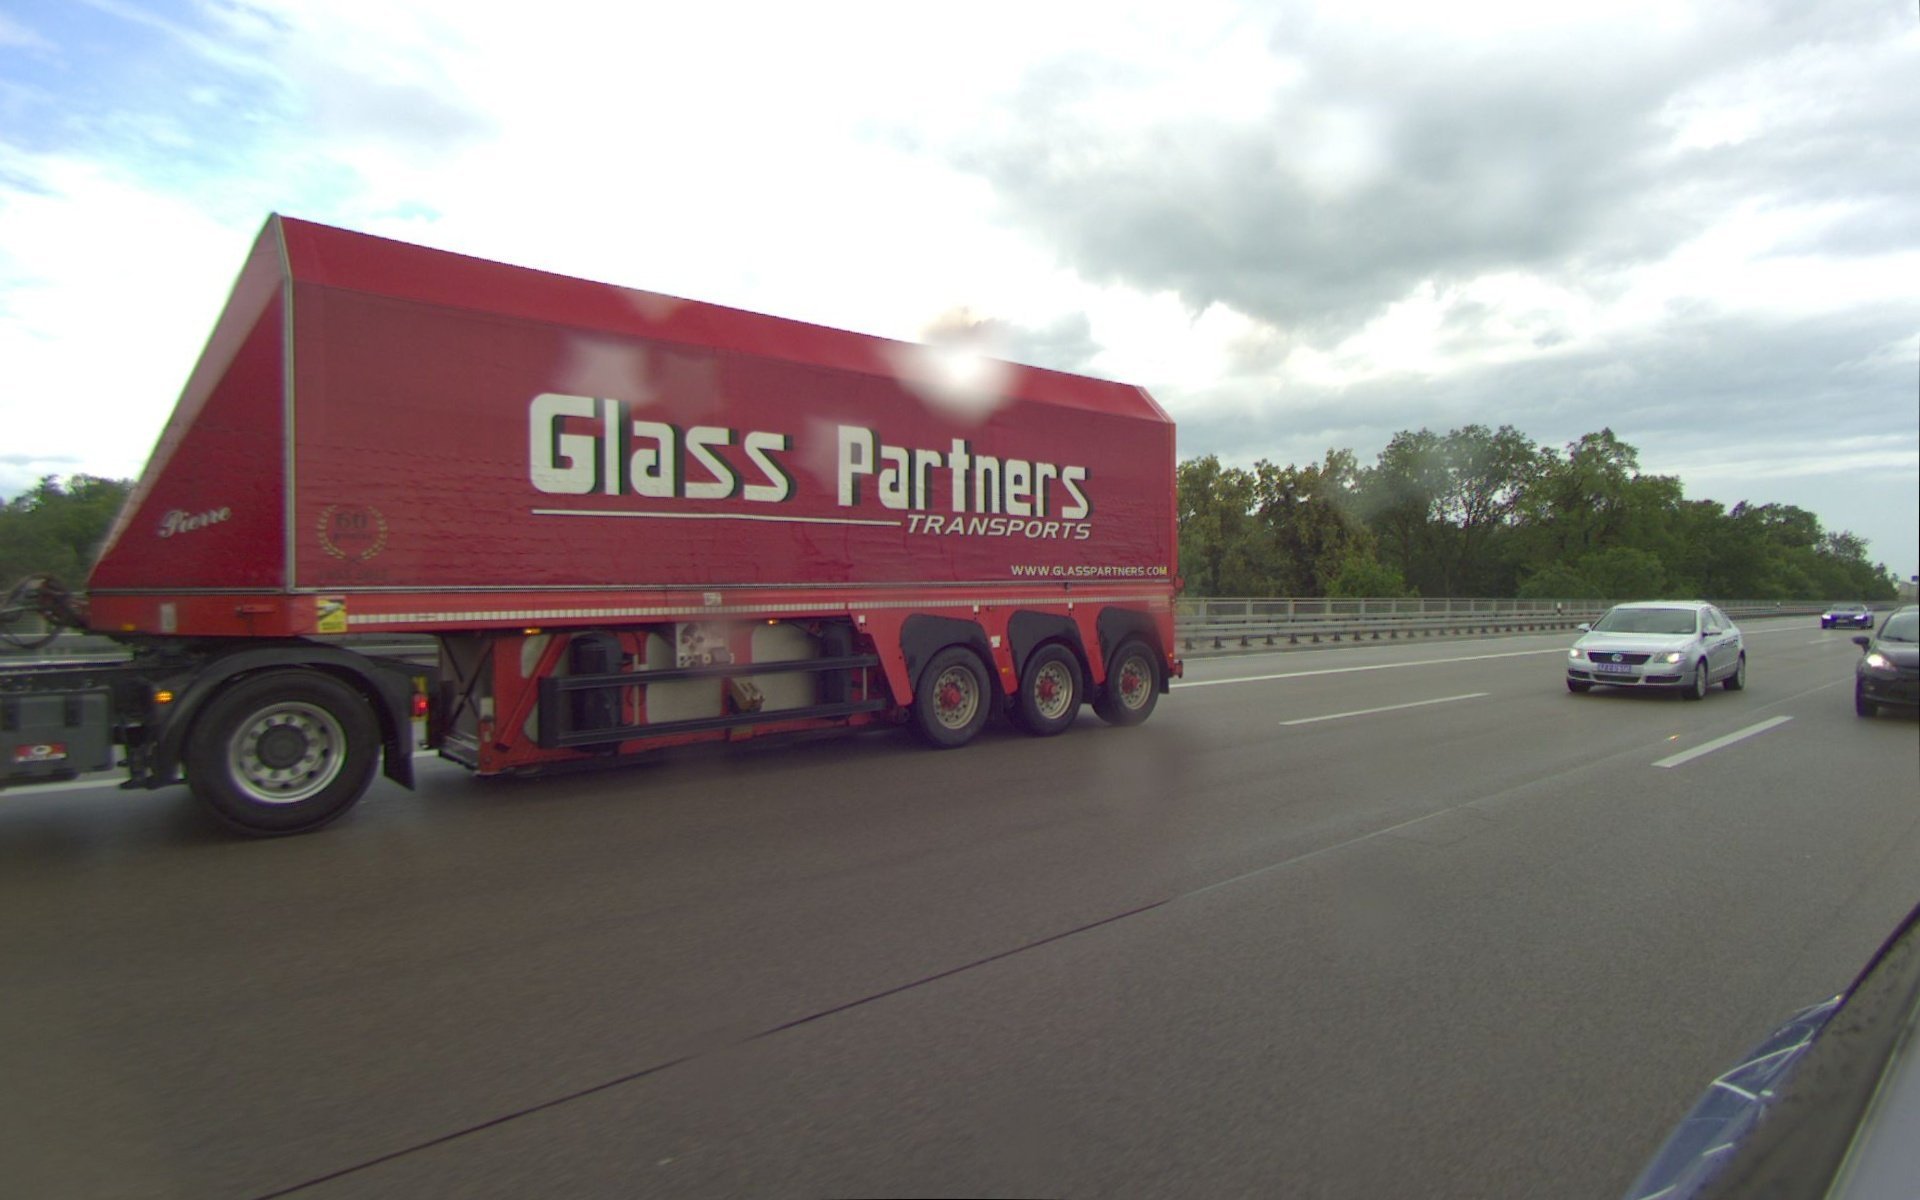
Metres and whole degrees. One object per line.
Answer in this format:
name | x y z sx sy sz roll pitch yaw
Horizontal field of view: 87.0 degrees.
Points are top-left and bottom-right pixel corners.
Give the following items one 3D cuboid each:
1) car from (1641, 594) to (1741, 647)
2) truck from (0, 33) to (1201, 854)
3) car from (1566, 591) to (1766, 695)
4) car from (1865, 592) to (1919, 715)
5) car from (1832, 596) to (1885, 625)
car | 23.020 0.591 31.818 4.285 1.562 1.816 0 0 -44
truck | -3.894 -0.793 7.906 15.369 4.054 3.157 0 0 -42
car | 11.544 0.596 16.444 4.175 1.465 1.895 0 0 -44
car | 13.464 0.643 13.474 4.330 1.458 1.666 -1 1 -42
car | 48.181 0.538 54.231 4.511 1.465 1.778 0 0 -44
